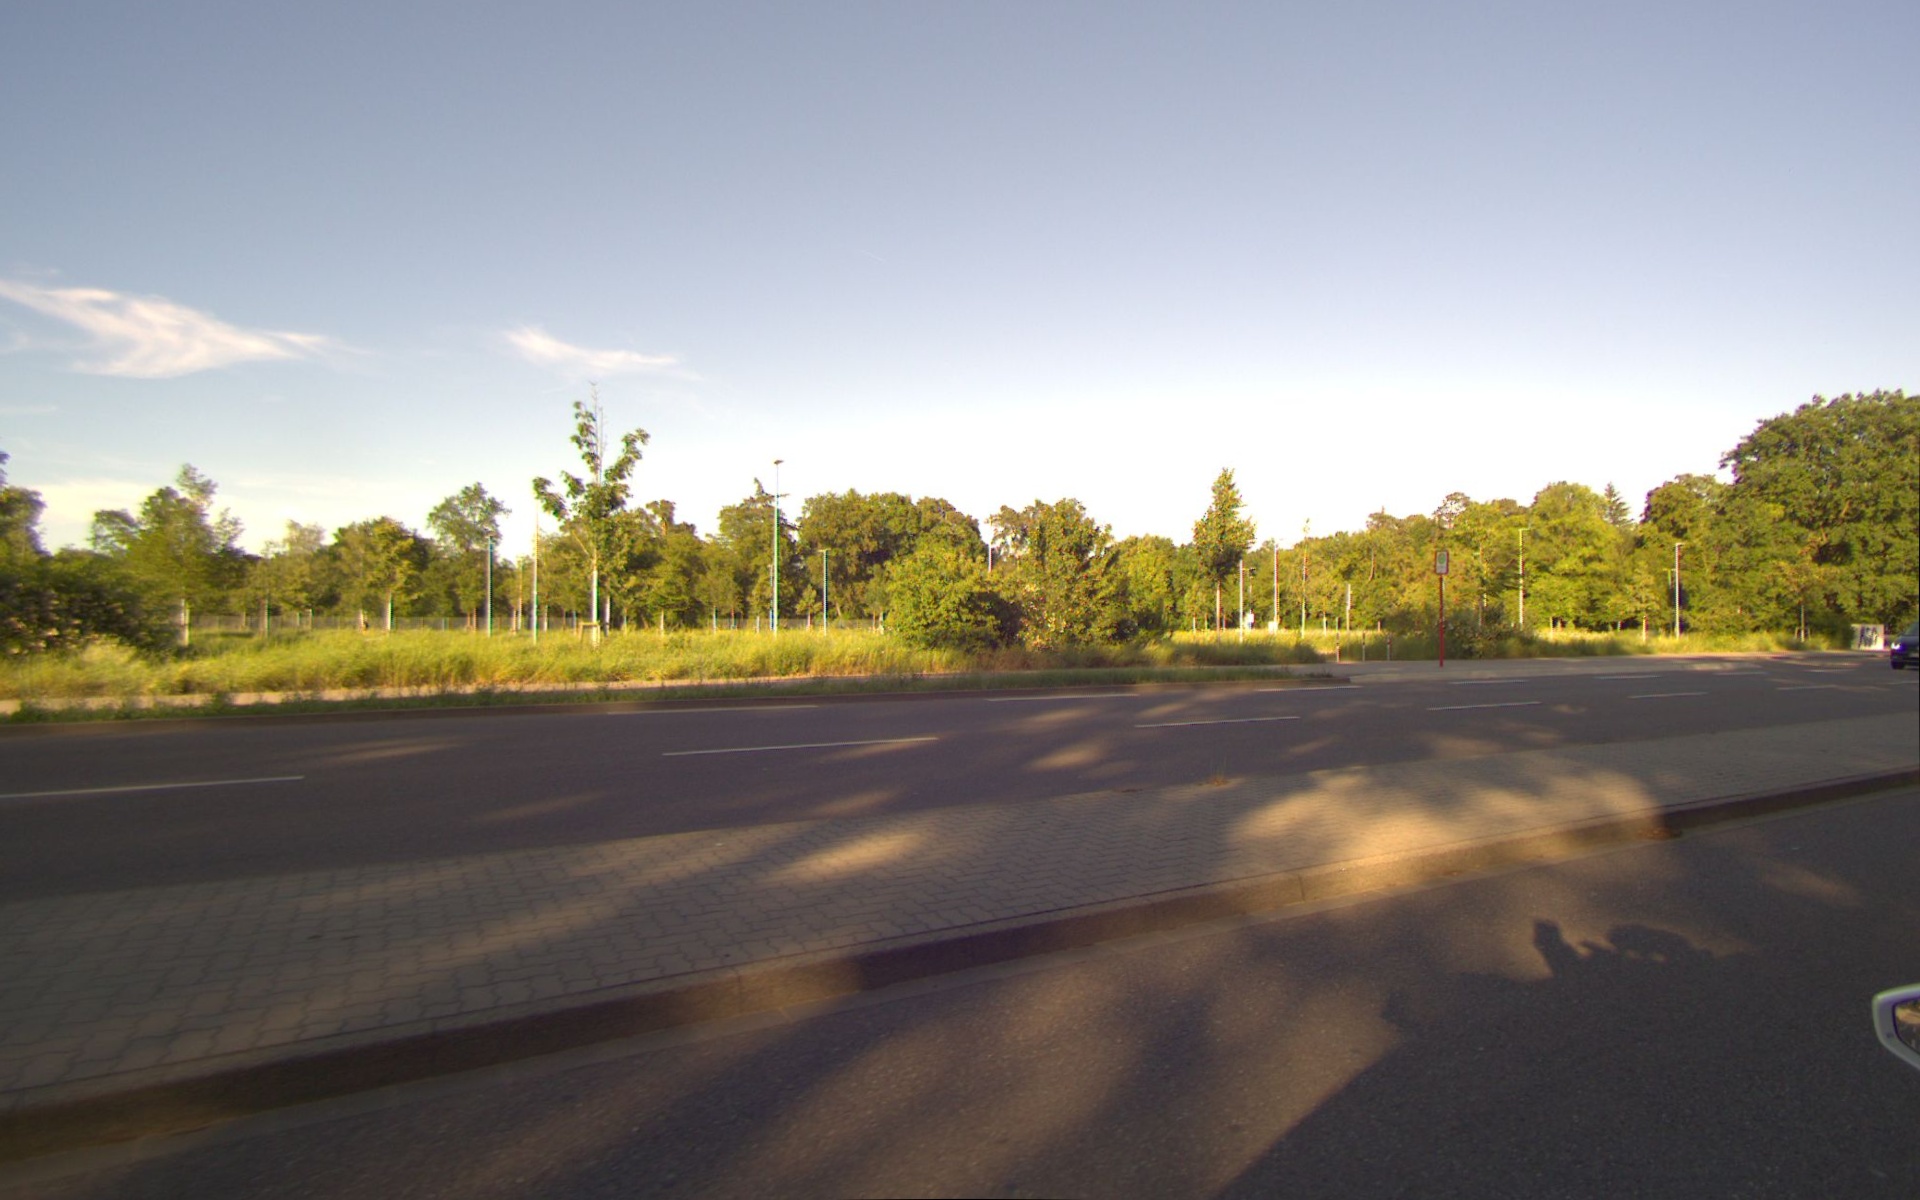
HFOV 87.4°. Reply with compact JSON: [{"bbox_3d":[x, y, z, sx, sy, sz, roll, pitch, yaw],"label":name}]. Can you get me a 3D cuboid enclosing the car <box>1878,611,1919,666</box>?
[{"bbox_3d":[32.096,1.243,32.847,4.647,1.714,1.774,1,1,-31],"label":"car"}]
